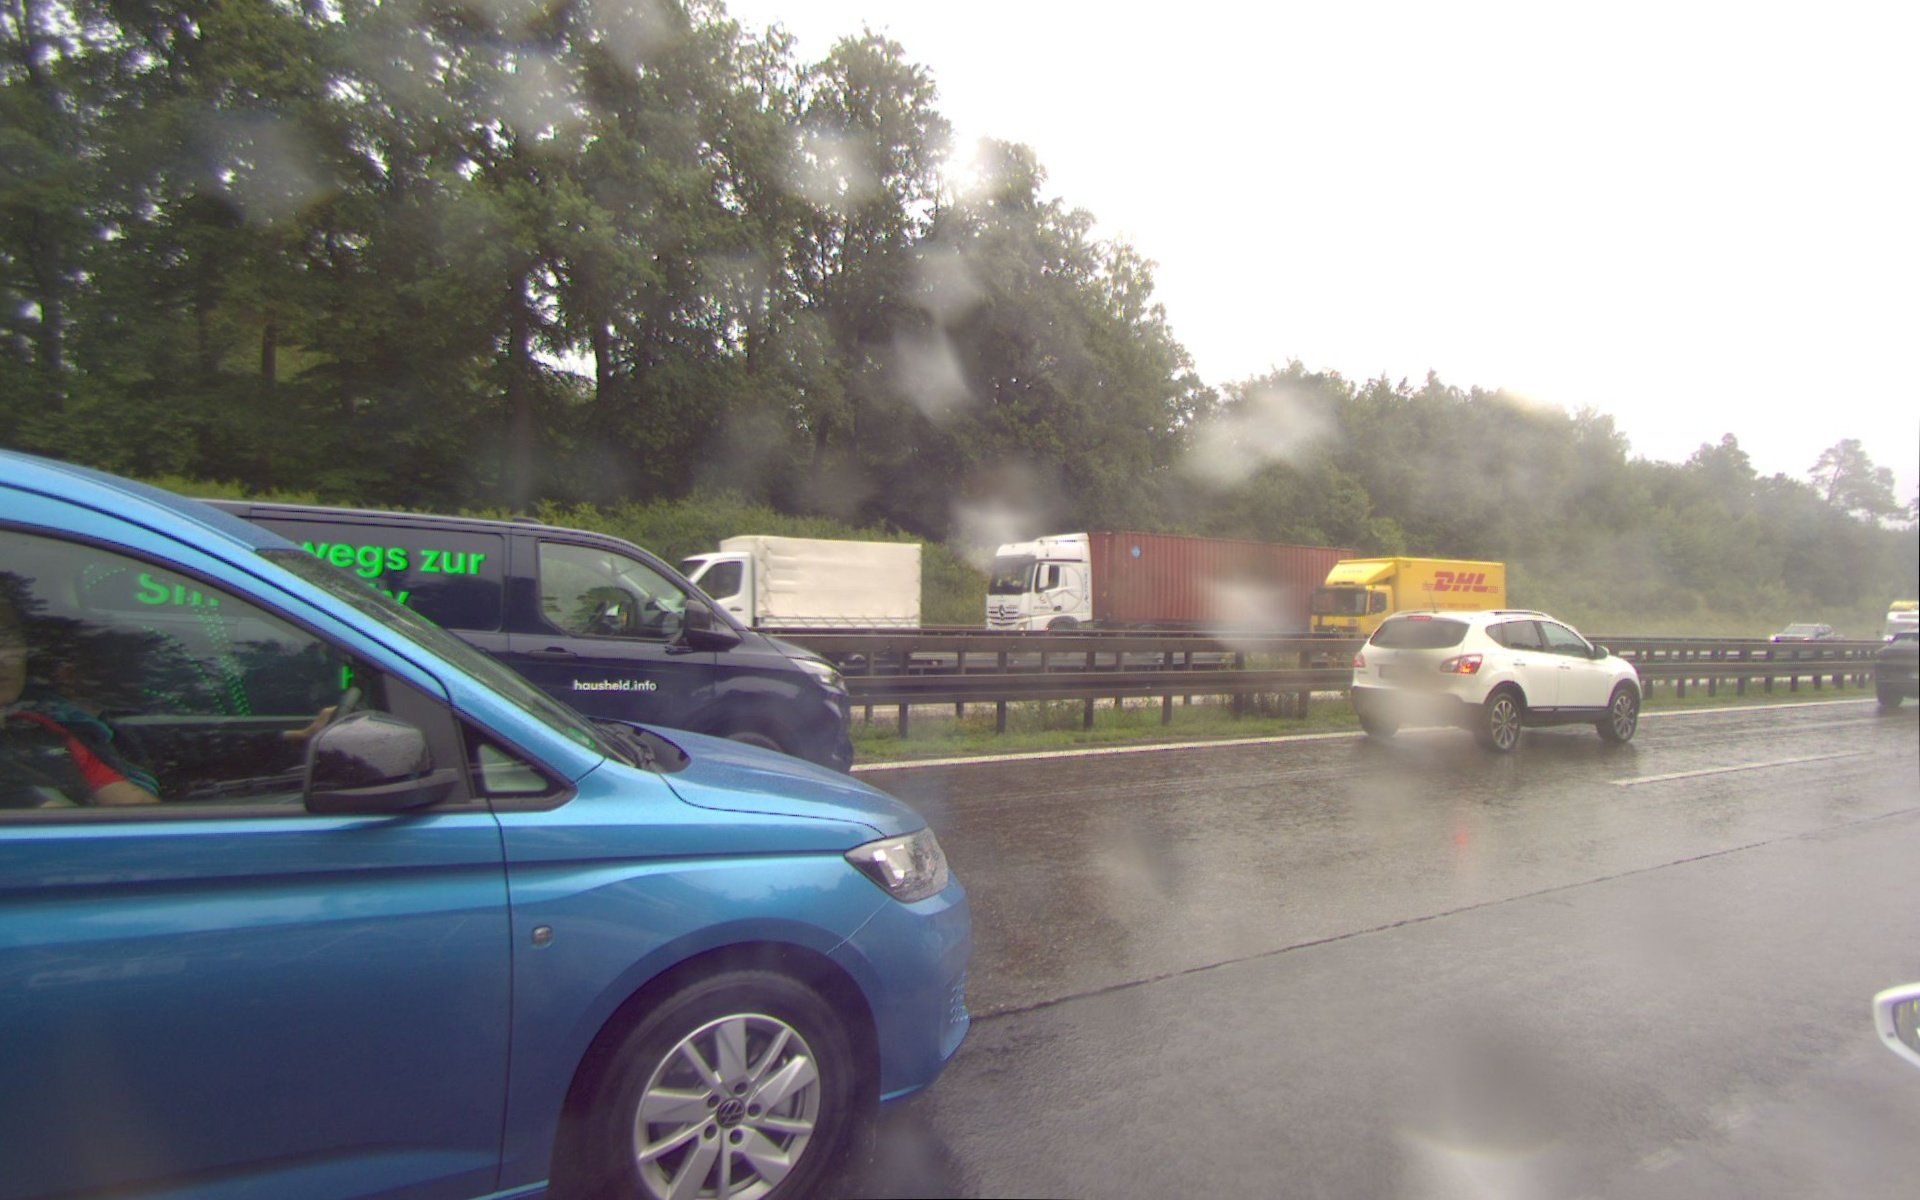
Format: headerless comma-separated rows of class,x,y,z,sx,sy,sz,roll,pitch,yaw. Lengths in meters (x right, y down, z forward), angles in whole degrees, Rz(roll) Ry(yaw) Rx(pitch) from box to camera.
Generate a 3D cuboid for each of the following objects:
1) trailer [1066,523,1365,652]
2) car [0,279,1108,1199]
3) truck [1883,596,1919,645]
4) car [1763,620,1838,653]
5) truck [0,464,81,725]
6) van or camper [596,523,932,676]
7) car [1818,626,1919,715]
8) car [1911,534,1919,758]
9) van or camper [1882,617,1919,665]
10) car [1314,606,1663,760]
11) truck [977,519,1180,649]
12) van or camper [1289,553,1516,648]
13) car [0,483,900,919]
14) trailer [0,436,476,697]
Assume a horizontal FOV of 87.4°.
trailer,9.489,-0.246,36.051,12.235,4.079,2.605,2,0,-32
car,-2.320,0.453,2.414,4.955,1.937,2.259,1,0,-29
truck,74.293,1.647,76.698,11.587,3.530,2.506,2,0,-32
car,44.205,1.924,52.803,3.954,1.600,1.836,1,0,-31
truck,-17.759,-0.145,15.041,6.460,4.006,2.366,2,-1,-30
van or camper,-3.678,0.047,19.488,6.053,2.581,2.185,1,-1,-33
car,19.647,1.381,20.546,4.413,1.613,1.837,1,0,-30
car,13.806,0.580,12.194,4.962,2.607,2.200,1,0,-33
van or camper,61.521,2.602,64.024,7.916,2.908,2.154,2,0,-33
car,6.696,0.926,12.624,4.414,1.613,1.836,1,0,-31
truck,3.898,-0.431,32.604,6.192,3.869,2.690,1,0,-31
van or camper,15.716,0.096,35.432,8.685,3.018,2.828,2,0,-31
car,-3.152,0.496,6.287,5.177,1.970,1.983,2,0,-28
trailer,-13.688,-0.450,17.441,9.312,4.006,2.366,2,-1,-30
